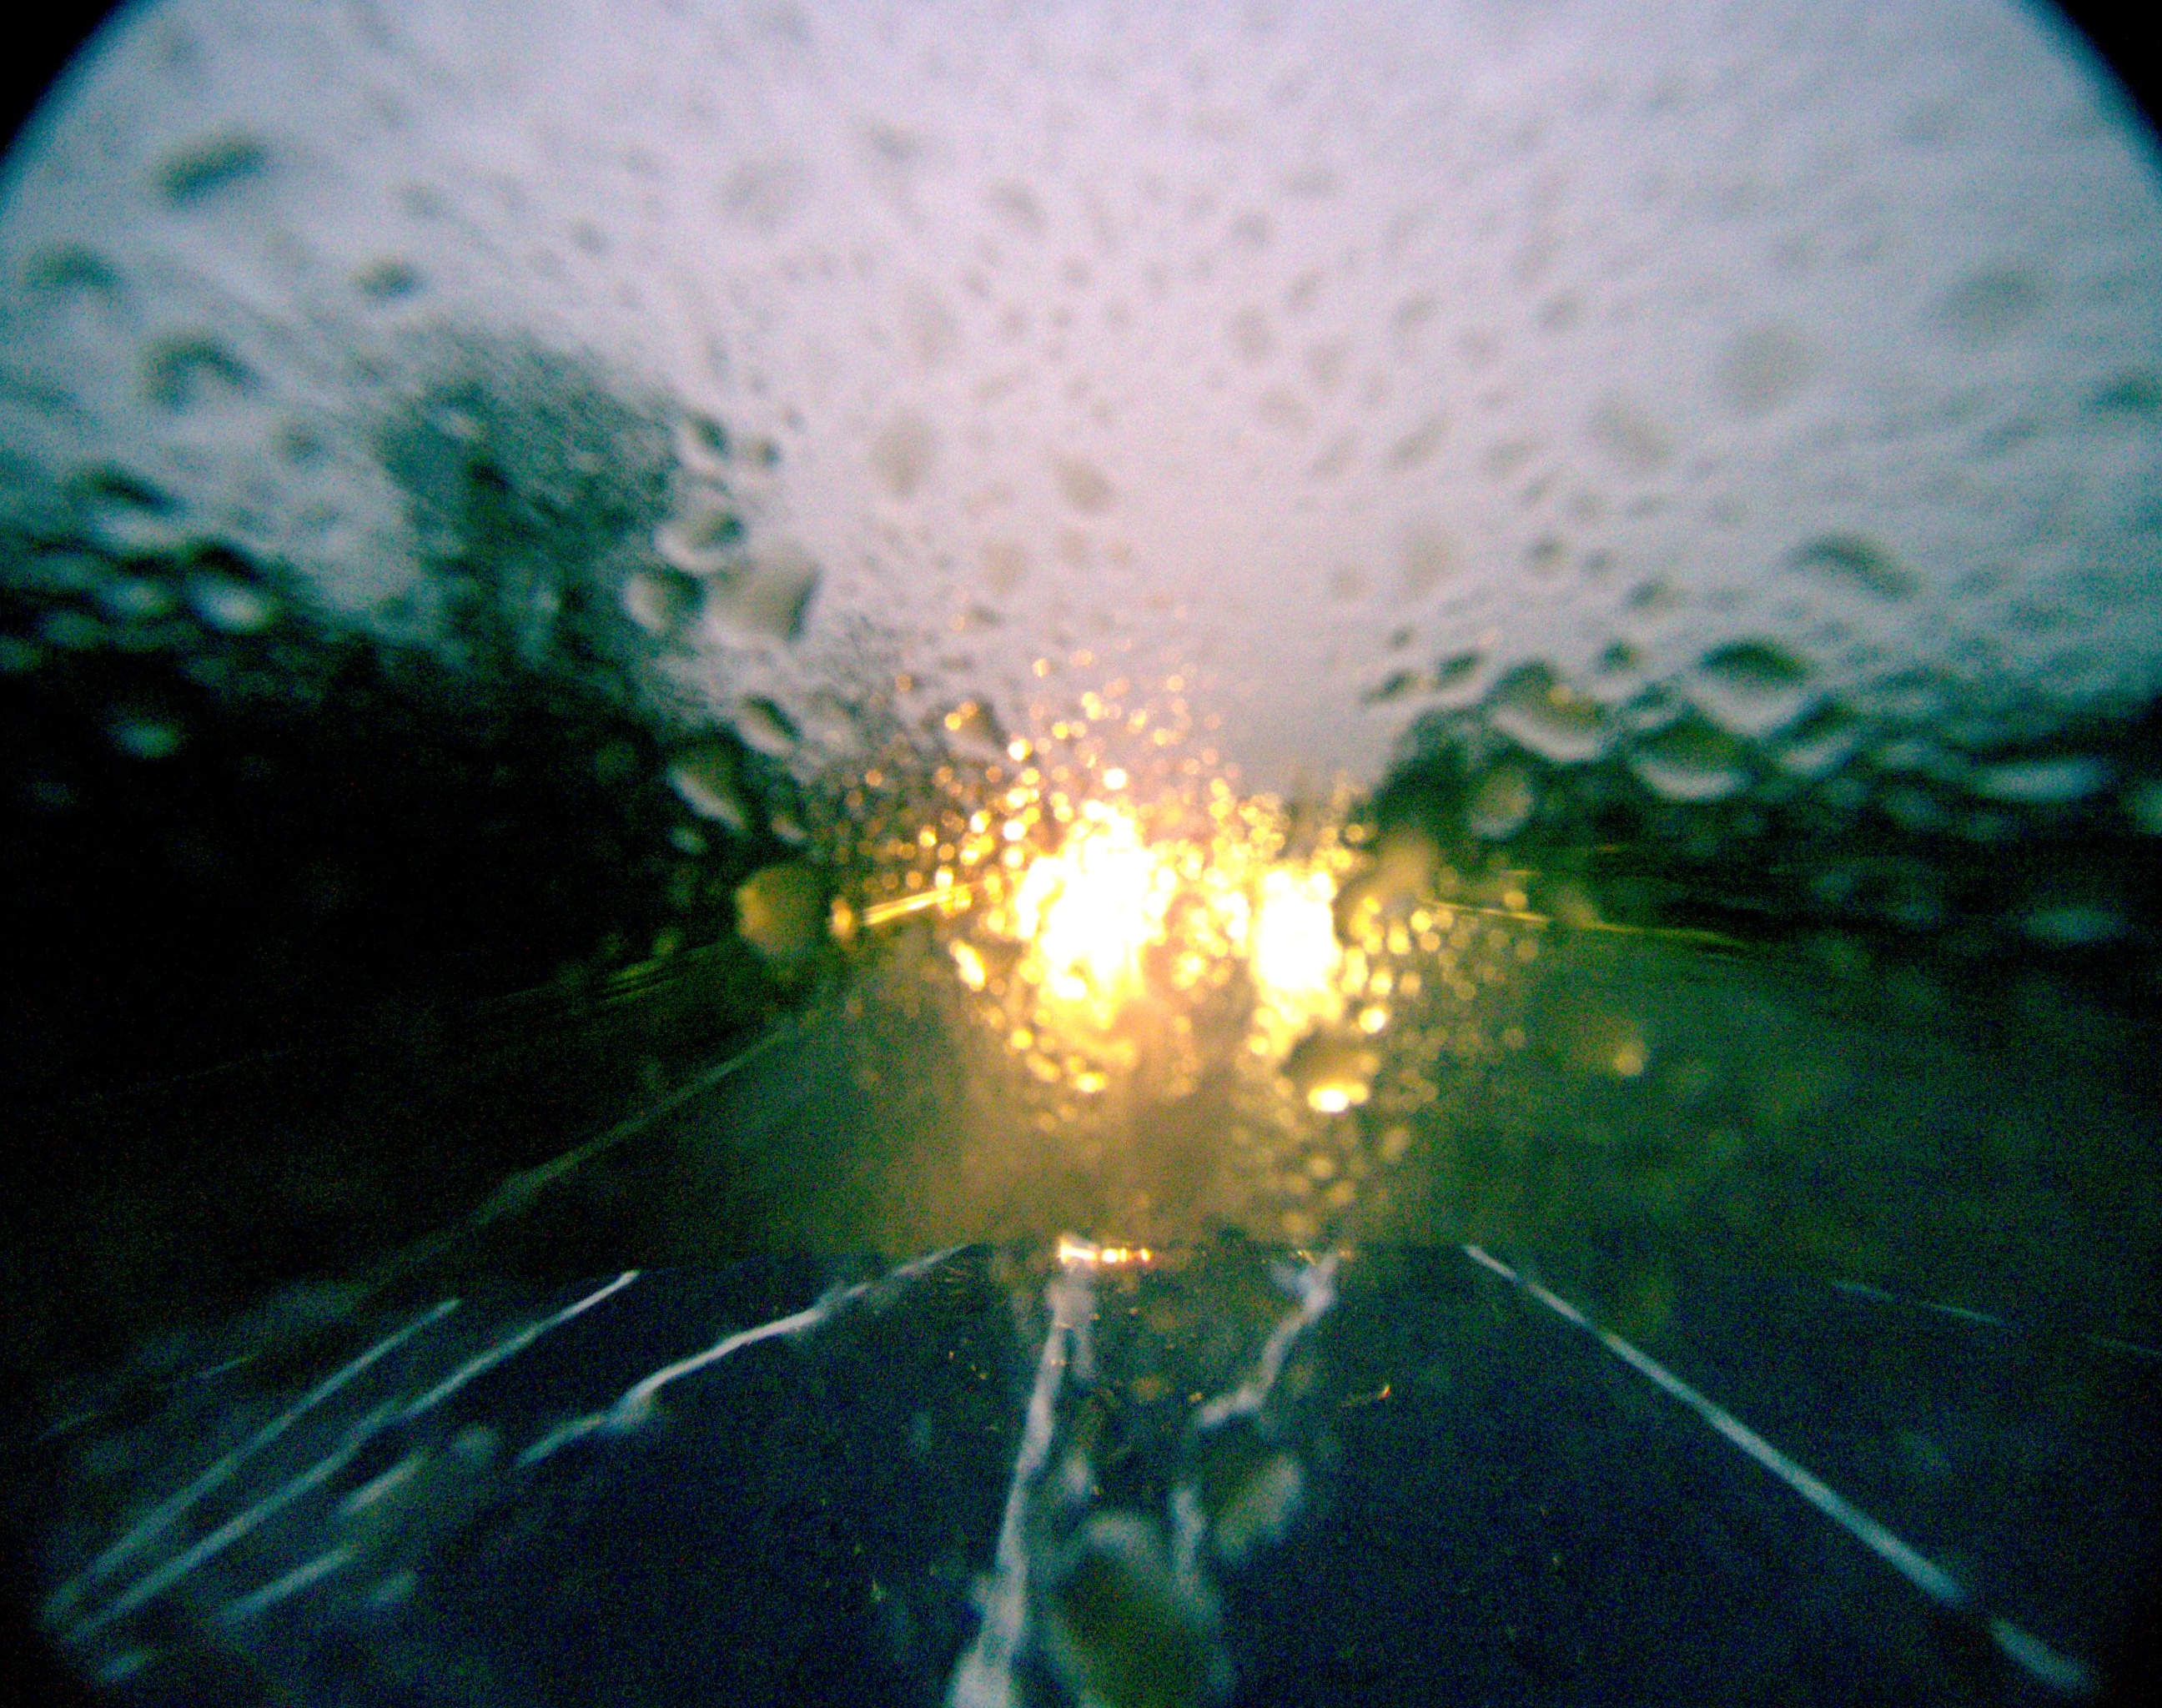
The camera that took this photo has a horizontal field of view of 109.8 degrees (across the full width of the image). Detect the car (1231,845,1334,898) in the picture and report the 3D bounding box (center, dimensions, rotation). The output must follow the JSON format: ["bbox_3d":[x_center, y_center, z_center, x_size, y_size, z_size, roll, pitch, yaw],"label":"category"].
[{"bbox_3d":[6.287,0.500,24.213,1.803,1.459,4.412,-3,0,-4],"label":"car"}]

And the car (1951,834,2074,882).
[{"bbox_3d":[32.661,0.119,26.781,1.744,1.478,4.007,-2,1,36],"label":"car"}]

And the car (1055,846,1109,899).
[{"bbox_3d":[0.114,0.712,31.564,1.998,2.002,3.964,-1,0,3],"label":"car"}]

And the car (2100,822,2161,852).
[{"bbox_3d":[58.992,-0.958,41.793,3.999,1.478,1.748,-3,1,-7],"label":"car"}]

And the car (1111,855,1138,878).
[{"bbox_3d":[3.073,0.855,53.072,1.653,1.503,3.875,1,1,6],"label":"car"}]
